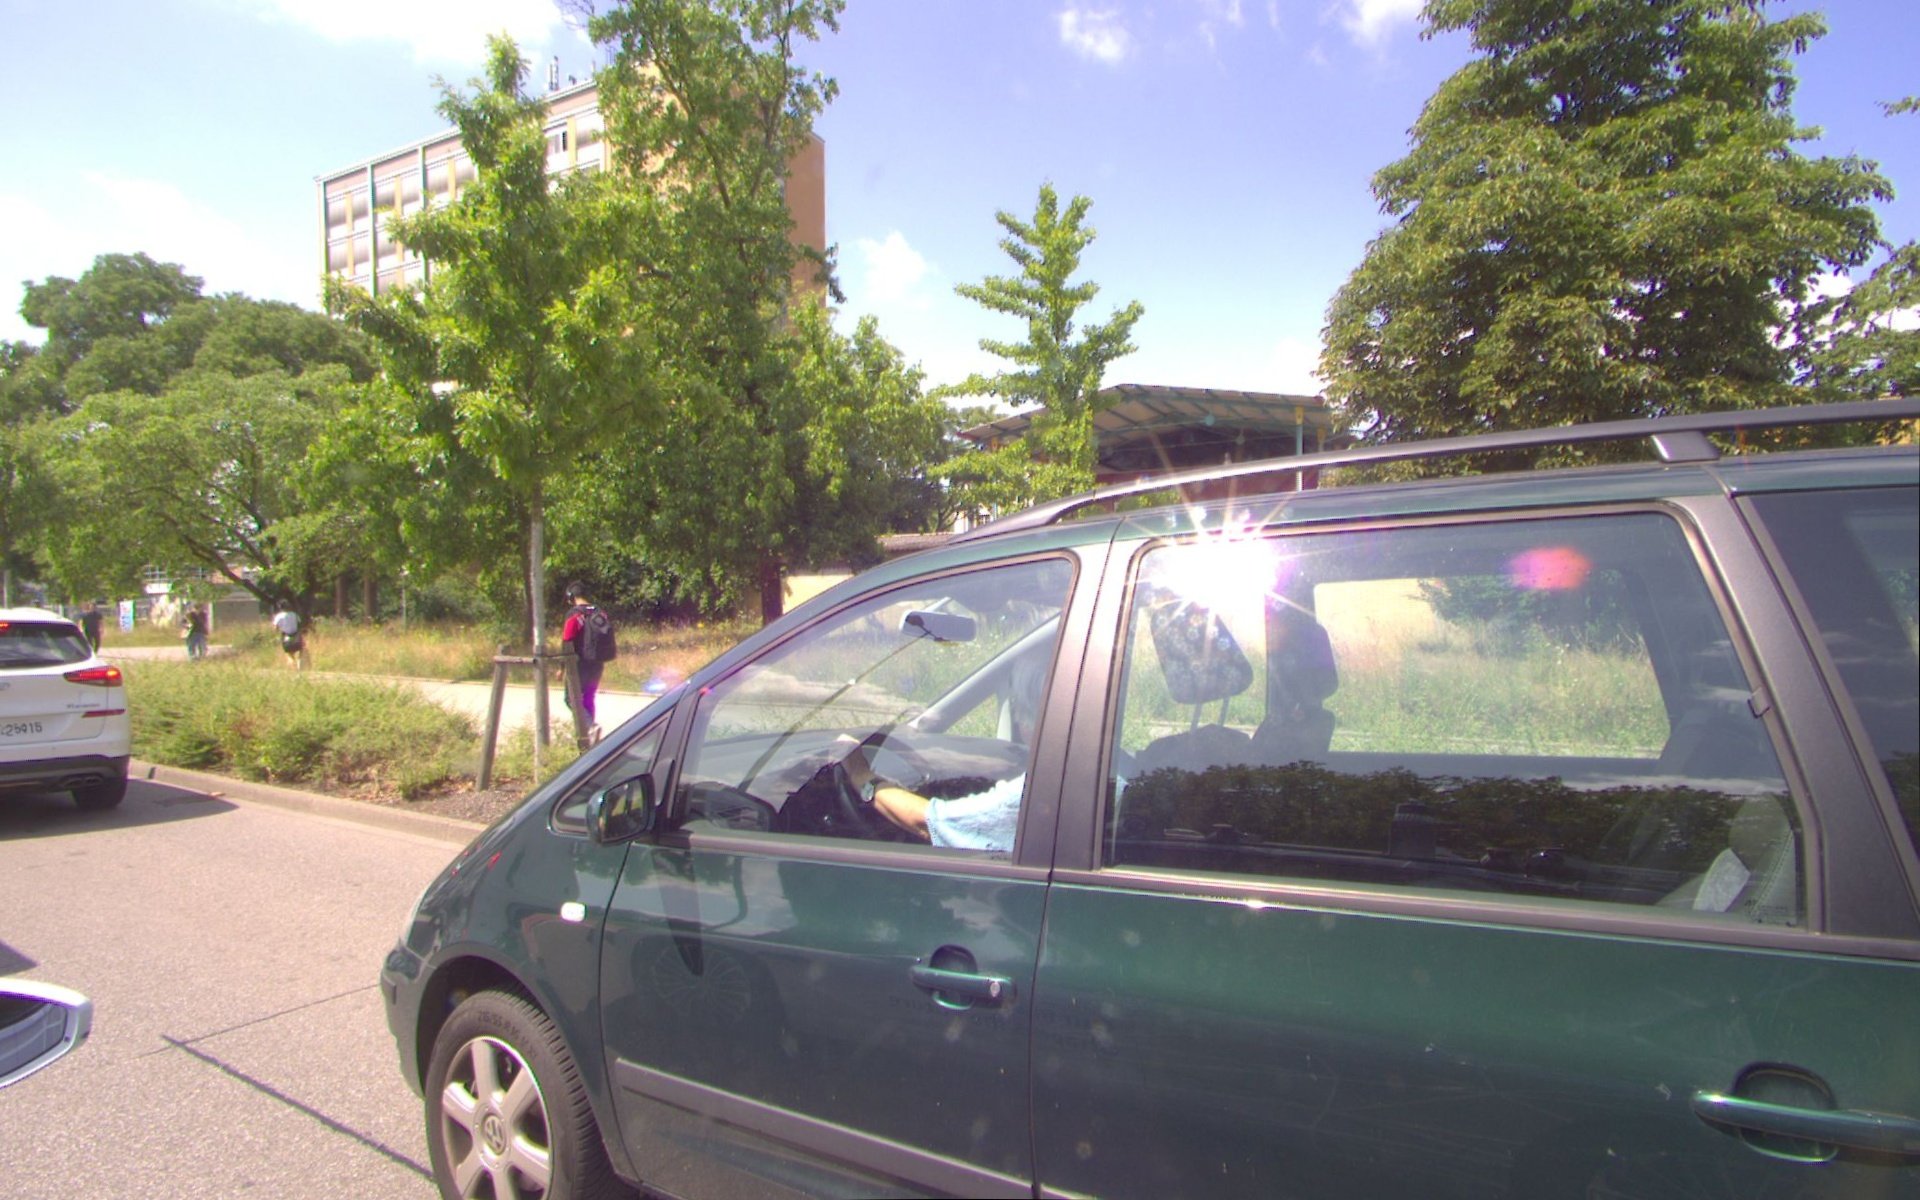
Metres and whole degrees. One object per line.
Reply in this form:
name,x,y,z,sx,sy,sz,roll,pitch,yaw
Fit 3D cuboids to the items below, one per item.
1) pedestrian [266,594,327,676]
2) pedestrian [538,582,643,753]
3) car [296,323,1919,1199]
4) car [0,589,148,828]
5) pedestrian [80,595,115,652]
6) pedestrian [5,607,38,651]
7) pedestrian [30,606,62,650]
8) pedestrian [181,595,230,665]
pedestrian,-13.157,0.683,19.862,0.805,1.578,0.757,0,1,34
pedestrian,-3.878,0.678,10.517,0.807,1.706,0.754,0,1,44
car,0.553,0.634,2.281,4.329,1.737,1.799,0,-2,32
car,-8.476,0.781,8.180,3.919,1.700,1.810,0,0,34
pedestrian,-27.745,0.738,32.210,0.806,1.813,0.755,0,0,40
pedestrian,-40.005,1.236,42.689,0.802,1.874,0.759,0,1,22
pedestrian,-39.747,1.202,43.545,0.803,1.874,0.759,0,1,24
pedestrian,-18.490,0.724,24.544,0.805,1.677,0.756,0,1,36
